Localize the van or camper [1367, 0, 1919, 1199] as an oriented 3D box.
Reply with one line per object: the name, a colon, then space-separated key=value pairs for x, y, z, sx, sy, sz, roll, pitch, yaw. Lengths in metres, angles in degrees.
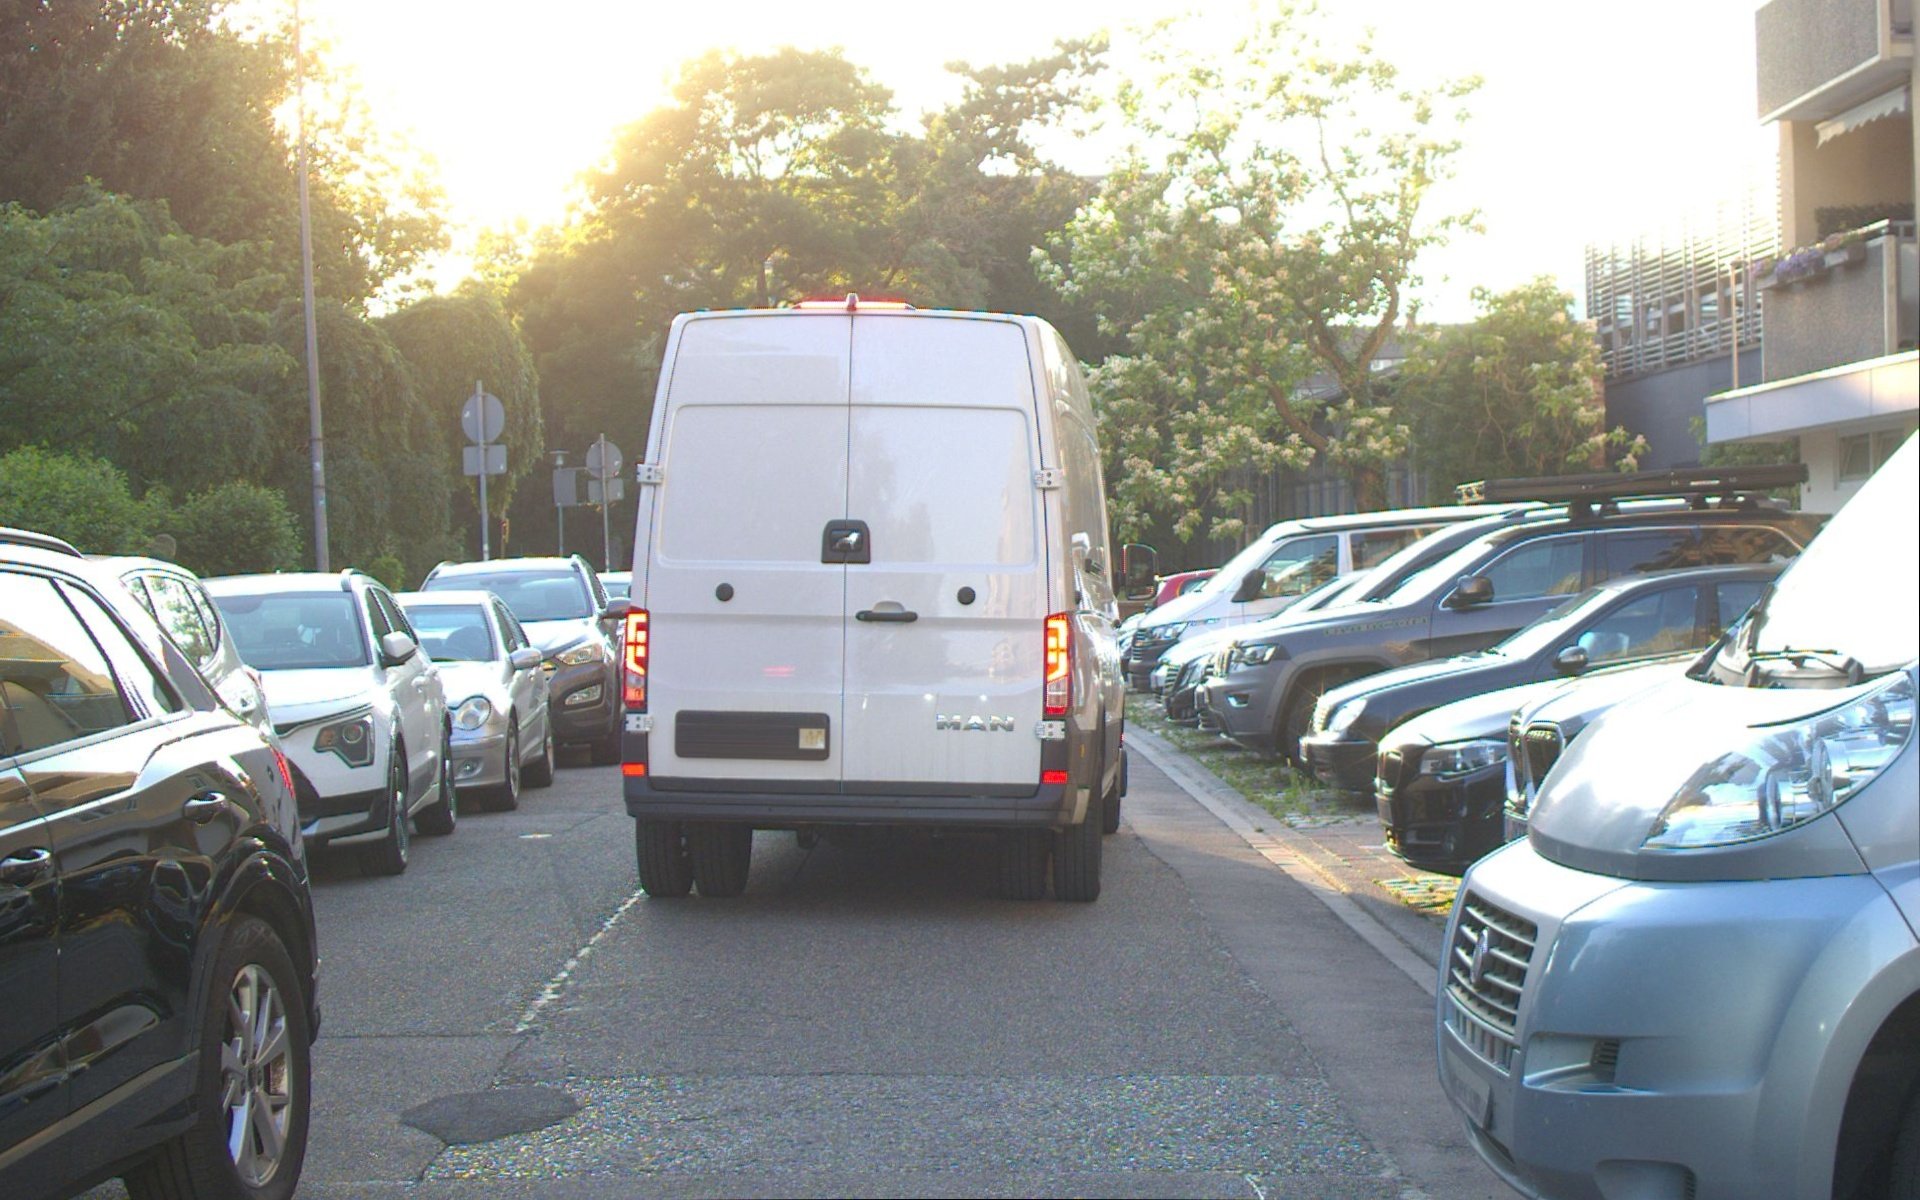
van or camper: x=3.943 y=0.012 z=7.083 sx=5.928 sy=2.760 sz=2.110 roll=0 pitch=0 yaw=-1

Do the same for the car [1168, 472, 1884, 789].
car: x=3.912 y=0.191 z=24.335 sx=4.705 sy=2.138 sz=2.000 roll=0 pitch=1 yaw=-2

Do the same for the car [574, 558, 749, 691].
car: x=-3.733 y=0.276 z=43.592 sx=1.993 sy=1.612 sz=4.000 roll=0 pitch=1 yaw=-2

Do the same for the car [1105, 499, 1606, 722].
car: x=3.860 y=0.086 z=34.137 sx=4.705 sy=2.138 sz=2.000 roll=0 pitch=1 yaw=-2

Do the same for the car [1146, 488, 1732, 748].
car: x=4.027 y=0.137 z=29.458 sx=4.705 sy=2.138 sz=2.000 roll=0 pitch=1 yaw=-2

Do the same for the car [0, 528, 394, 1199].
car: x=-2.564 y=0.679 z=6.169 sx=1.805 sy=1.564 sz=4.564 roll=-2 pitch=0 yaw=7

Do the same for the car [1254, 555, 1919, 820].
car: x=4.090 y=0.521 z=21.709 sx=4.236 sy=1.420 sz=1.719 roll=-3 pitch=0 yaw=-1

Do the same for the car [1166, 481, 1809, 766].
car: x=4.061 y=0.163 z=27.031 sx=4.705 sy=2.138 sz=2.000 roll=0 pitch=1 yaw=-2

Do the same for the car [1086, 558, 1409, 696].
car: x=3.645 y=0.332 z=44.193 sx=3.987 sy=1.722 sz=2.000 roll=0 pitch=0 yaw=0

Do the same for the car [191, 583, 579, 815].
car: x=-3.756 y=0.598 z=23.132 sx=1.993 sy=1.393 sz=4.000 roll=0 pitch=1 yaw=-1

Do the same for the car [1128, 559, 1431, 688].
car: x=4.339 y=0.310 z=47.230 sx=3.987 sy=1.722 sz=2.000 roll=0 pitch=0 yaw=0

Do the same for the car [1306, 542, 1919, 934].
car: x=3.707 y=0.518 z=15.238 sx=3.986 sy=1.449 sz=1.836 roll=-4 pitch=1 yaw=-4

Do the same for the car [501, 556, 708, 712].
car: x=-3.855 y=0.333 z=37.873 sx=1.993 sy=1.612 sz=4.000 roll=0 pitch=1 yaw=-2

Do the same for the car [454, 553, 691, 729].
car: x=-3.709 y=0.357 z=33.561 sx=1.993 sy=1.612 sz=4.000 roll=0 pitch=1 yaw=-2

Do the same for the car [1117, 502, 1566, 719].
car: x=3.964 y=0.098 z=36.322 sx=4.495 sy=2.223 sz=2.032 roll=0 pitch=0 yaw=-1

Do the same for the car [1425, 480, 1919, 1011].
car: x=4.113 y=0.415 z=12.543 sx=4.433 sy=1.722 sz=1.773 roll=-2 pitch=1 yaw=-6

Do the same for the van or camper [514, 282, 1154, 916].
van or camper: x=-0.350 y=-0.040 z=17.009 sx=2.454 sy=2.538 sz=6.082 roll=1 pitch=1 yaw=4

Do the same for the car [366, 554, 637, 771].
car: x=-3.698 y=0.459 z=28.353 sx=1.993 sy=1.656 sz=4.001 roll=0 pitch=1 yaw=-4

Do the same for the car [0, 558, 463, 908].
car: x=-3.756 y=0.600 z=18.033 sx=1.856 sy=1.549 sz=4.100 roll=-3 pitch=1 yaw=-3

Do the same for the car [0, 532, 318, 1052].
car: x=-3.751 y=0.630 z=12.803 sx=1.783 sy=1.625 sz=4.000 roll=-3 pitch=0 yaw=2

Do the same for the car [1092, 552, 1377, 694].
car: x=3.912 y=0.317 z=49.552 sx=3.987 sy=2.007 sz=2.000 roll=0 pitch=0 yaw=2

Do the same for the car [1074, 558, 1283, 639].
car: x=4.387 y=-0.041 z=69.504 sx=3.986 sy=1.612 sz=2.000 roll=0 pitch=1 yaw=-4
